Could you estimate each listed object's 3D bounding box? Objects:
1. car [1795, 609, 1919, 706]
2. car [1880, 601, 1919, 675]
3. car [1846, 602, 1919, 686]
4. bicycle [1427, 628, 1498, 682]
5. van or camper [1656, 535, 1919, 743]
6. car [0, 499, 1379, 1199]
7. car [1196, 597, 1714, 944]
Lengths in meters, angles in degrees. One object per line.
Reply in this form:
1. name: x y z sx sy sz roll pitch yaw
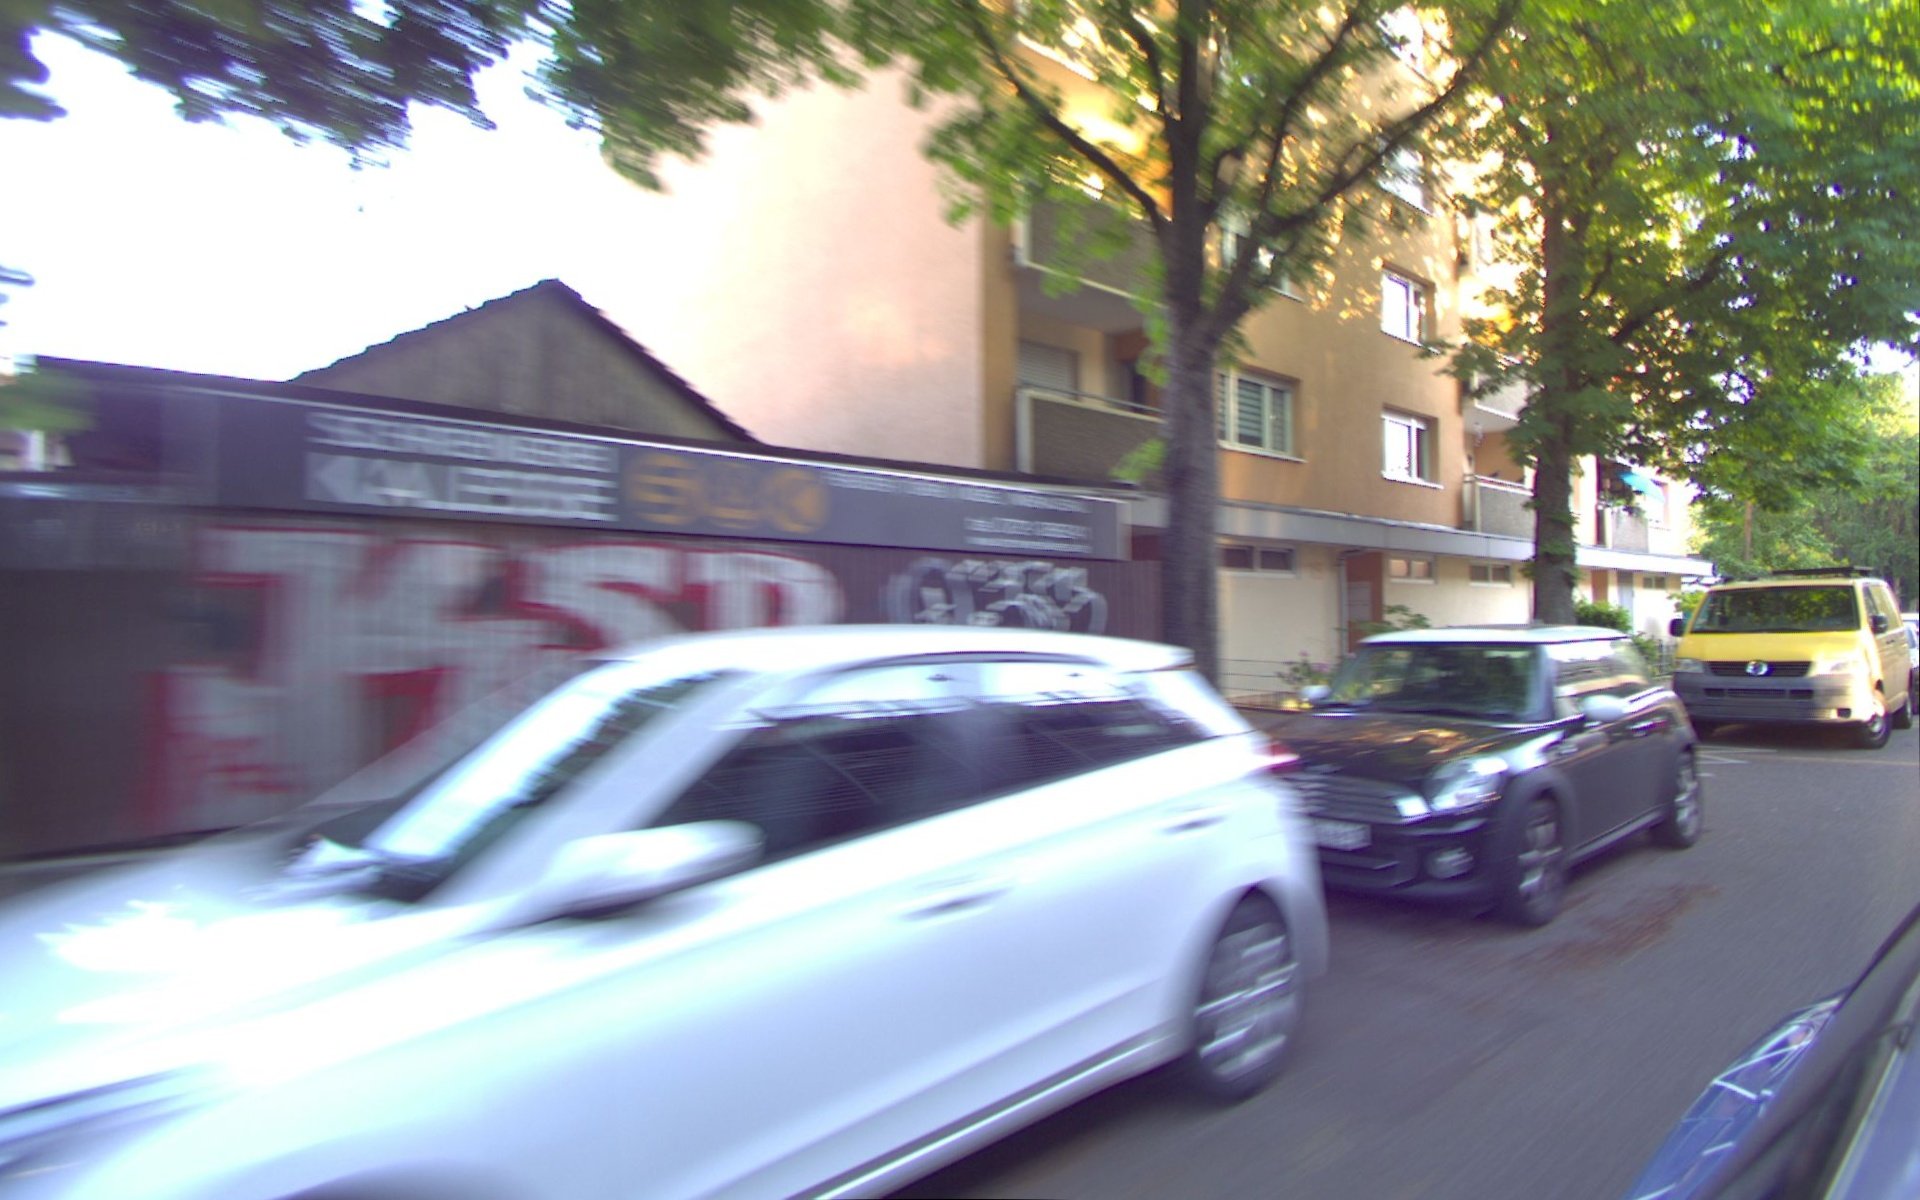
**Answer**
1. car: 15.021 0.874 16.344 3.927 1.400 1.610 1 -2 -39
2. car: 22.199 0.825 22.715 4.120 1.583 1.794 1 -1 -41
3. car: 18.670 0.827 19.742 3.416 1.530 1.612 1 -1 -41
4. bicycle: 9.196 0.979 18.494 1.802 0.933 0.524 2 -2 -41
5. van or camper: 10.761 0.455 12.817 5.002 2.123 2.066 1 -2 -42
6. car: -0.587 0.686 2.899 3.955 1.539 1.725 1 -2 -41
7. car: 3.068 0.763 6.012 3.392 1.469 1.565 1 -2 -41
